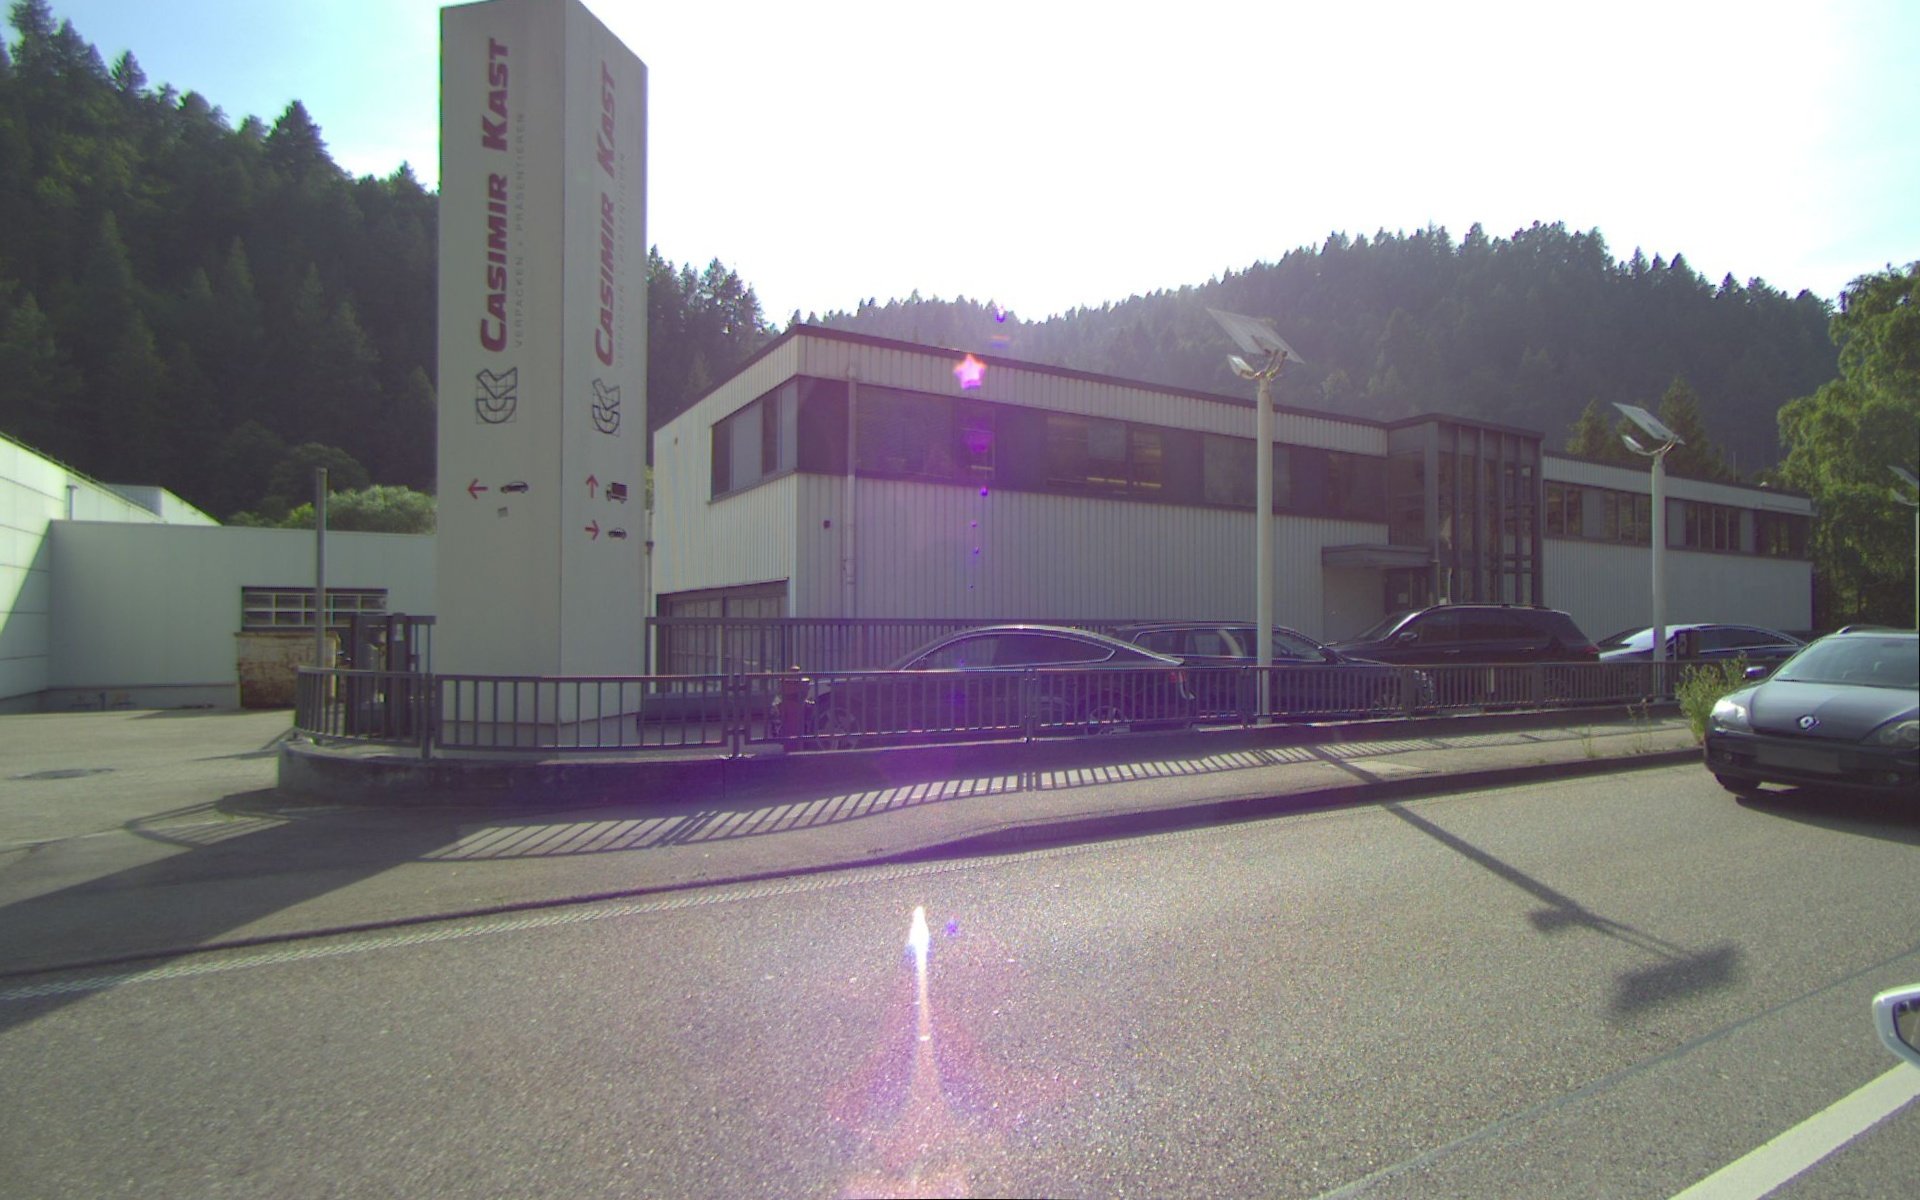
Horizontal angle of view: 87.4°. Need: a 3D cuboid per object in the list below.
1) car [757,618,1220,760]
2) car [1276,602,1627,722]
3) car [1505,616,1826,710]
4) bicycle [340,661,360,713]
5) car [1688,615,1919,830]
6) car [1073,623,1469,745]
[{"bbox_3d":[0.291,0.921,10.947,4.641,1.393,1.712,0,-1,0],"label":"car"},{"bbox_3d":[7.644,0.950,16.024,4.596,1.765,2.001,-1,-1,3],"label":"car"},{"bbox_3d":[13.102,1.148,18.817,4.761,1.582,1.999,1,-1,-5],"label":"car"},{"bbox_3d":[-12.375,1.741,20.395,0.283,0.990,1.671,1,-3,-29],"label":"bicycle"},{"bbox_3d":[8.432,0.940,8.909,4.197,1.505,1.669,1,1,-31],"label":"car"},{"bbox_3d":[3.898,1.050,13.121,4.641,1.458,1.712,0,-1,0],"label":"car"}]
